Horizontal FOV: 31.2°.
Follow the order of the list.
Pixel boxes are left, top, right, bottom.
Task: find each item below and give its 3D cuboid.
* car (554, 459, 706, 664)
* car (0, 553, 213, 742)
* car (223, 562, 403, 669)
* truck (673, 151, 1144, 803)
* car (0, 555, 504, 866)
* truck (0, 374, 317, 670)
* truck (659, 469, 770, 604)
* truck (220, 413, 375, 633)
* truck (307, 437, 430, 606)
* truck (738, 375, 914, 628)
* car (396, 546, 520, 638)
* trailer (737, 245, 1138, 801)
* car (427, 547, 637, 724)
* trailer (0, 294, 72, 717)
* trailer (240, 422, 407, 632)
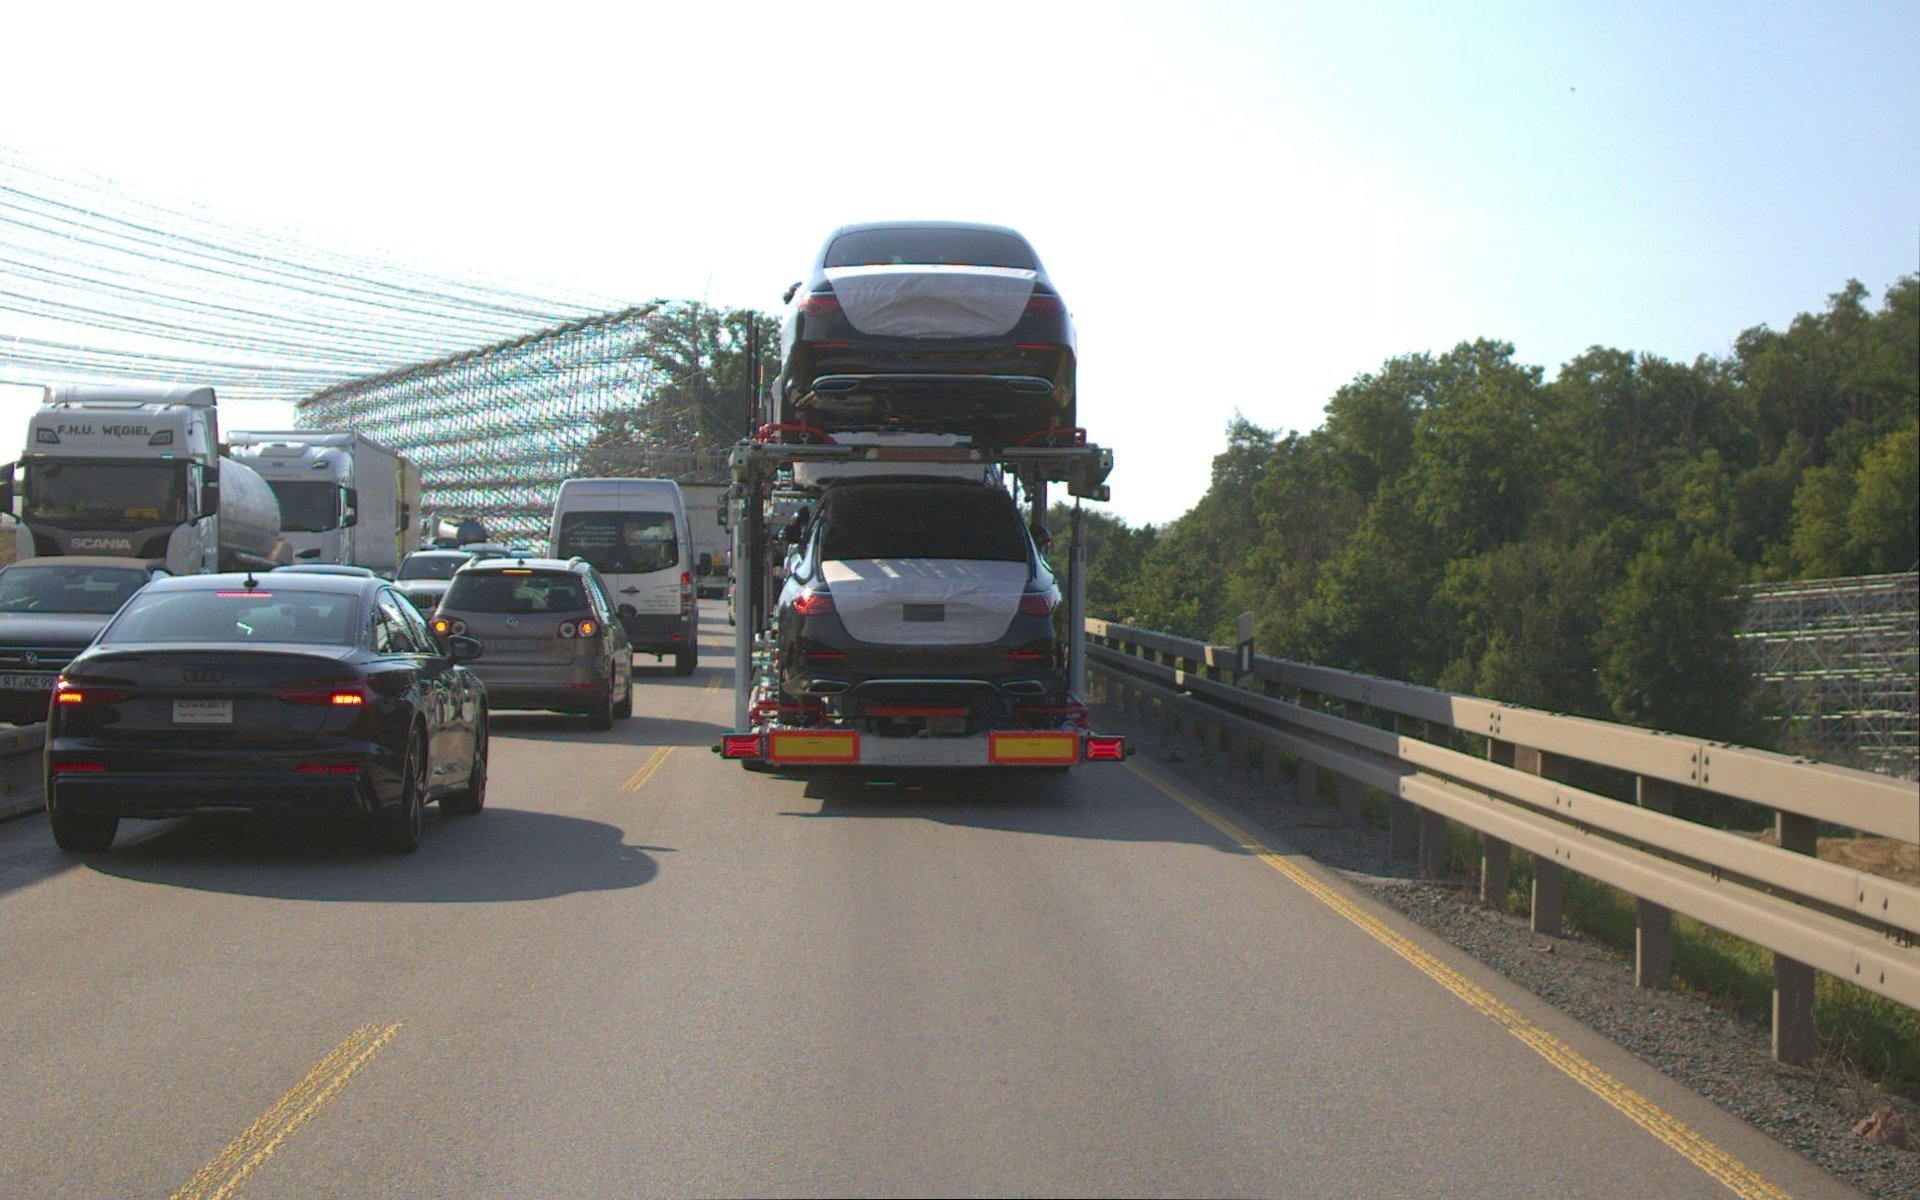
[{"bbox_3d":[-4.483,-0.490,47.156,1.979,2.675,4.147,0,0,-4],"label":"car"},{"bbox_3d":[-7.696,0.394,29.555,1.716,1.503,4.292,0,0,-1],"label":"car"},{"bbox_3d":[-8.838,0.213,47.289,1.739,1.397,4.903,0,0,-2],"label":"car"},{"bbox_3d":[-0.251,-0.731,23.835,2.870,3.966,5.771,0,0,1],"label":"truck"},{"bbox_3d":[-3.789,0.532,19.135,1.940,1.475,5.222,-1,0,-2],"label":"car"},{"bbox_3d":[-12.282,-1.023,53.685,2.808,3.956,13.895,1,0,-4],"label":"truck"},{"bbox_3d":[-8.857,-2.302,125.280,3.648,4.661,11.696,0,1,-2],"label":"truck"},{"bbox_3d":[-13.401,-1.476,69.956,2.443,4.257,6.322,0,0,-5],"label":"truck"},{"bbox_3d":[-15.487,-1.991,90.291,2.893,4.257,5.772,0,0,-7],"label":"truck"},{"bbox_3d":[-2.726,-1.945,69.678,3.228,4.661,11.696,0,1,-2],"label":"truck"},{"bbox_3d":[-9.330,-0.148,64.214,1.846,1.642,4.560,-1,0,-3],"label":"car"},{"bbox_3d":[-0.461,-0.505,32.310,2.874,3.980,15.280,0,0,-2],"label":"trailer"},{"bbox_3d":[-4.012,0.331,32.754,1.700,1.581,4.147,0,0,-3],"label":"car"},{"bbox_3d":[-10.673,-0.970,29.201,2.701,4.190,15.998,0,0,-2],"label":"trailer"},{"bbox_3d":[-13.893,-1.441,75.868,2.453,4.251,12.147,0,0,-5],"label":"trailer"}]
